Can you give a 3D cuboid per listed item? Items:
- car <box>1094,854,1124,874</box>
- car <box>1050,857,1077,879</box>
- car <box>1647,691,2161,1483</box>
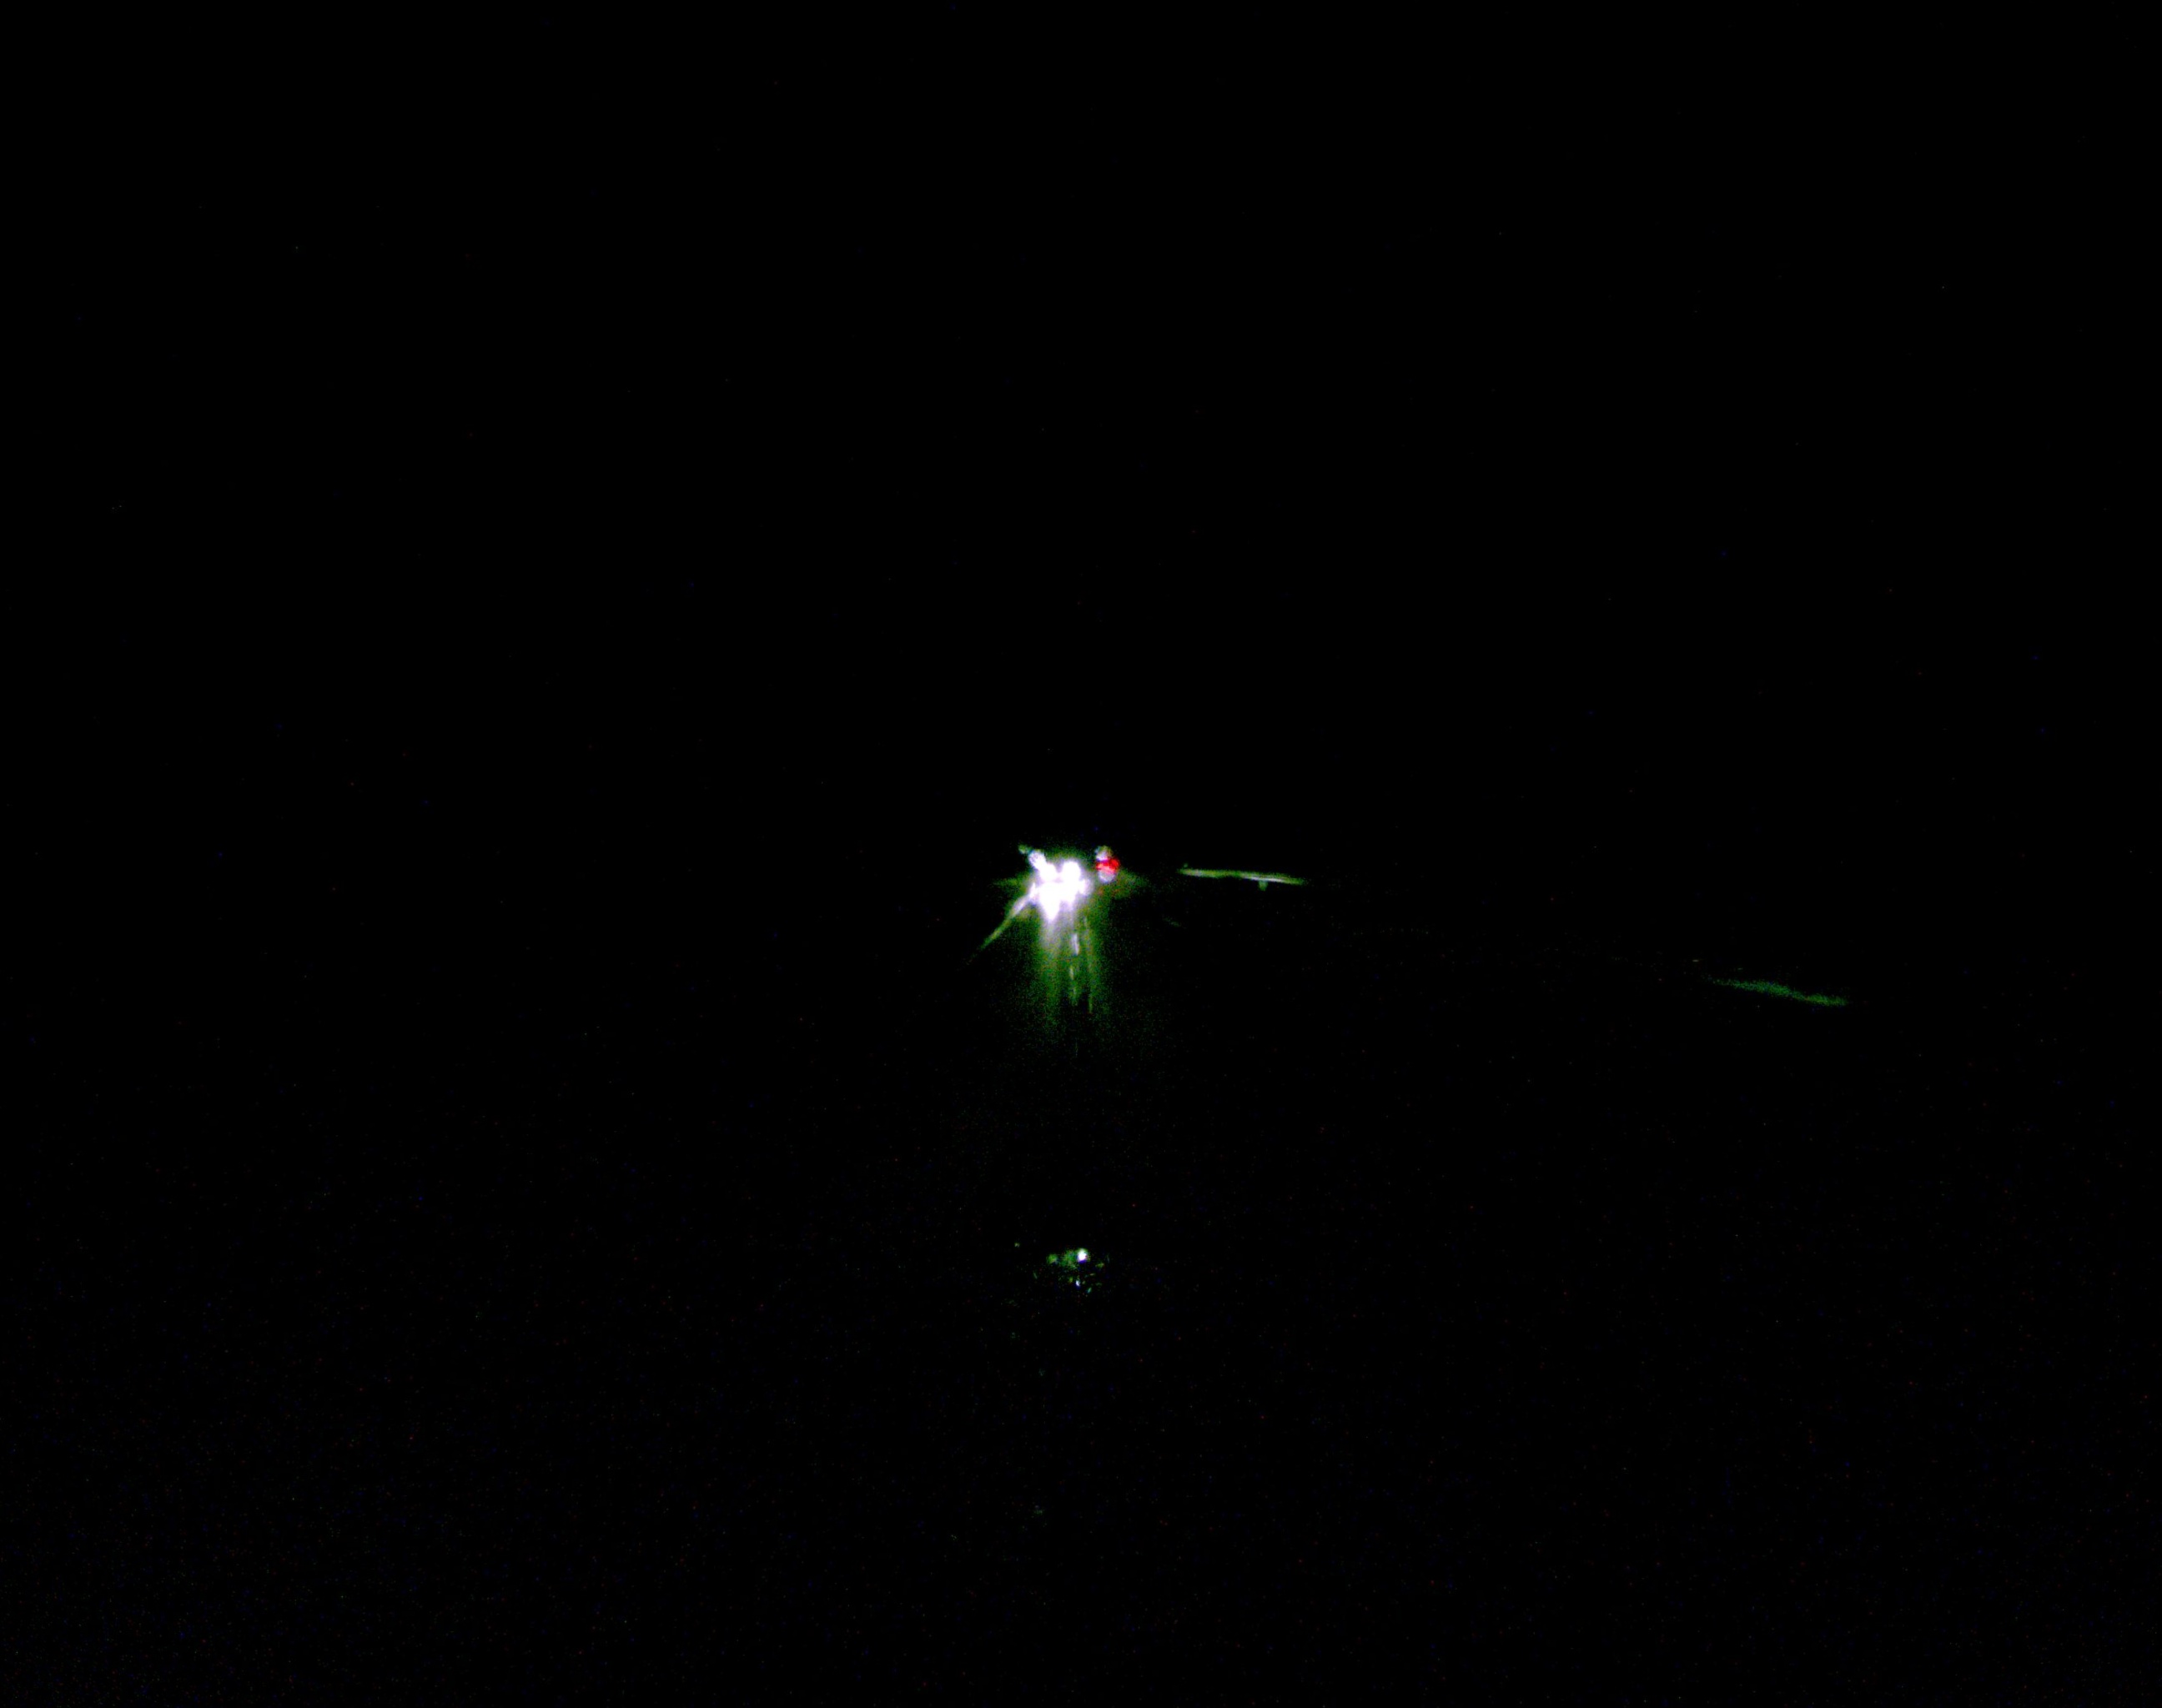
[{"bbox_3d":[2.120,0.766,58.290,1.999,1.382,3.845,-3,0,-1],"label":"car"},{"bbox_3d":[-1.365,1.016,57.170,1.776,1.444,4.134,-4,0,-3],"label":"car"},{"bbox_3d":[3.531,0.540,1.485,1.859,1.929,4.000,-2,0,1],"label":"car"}]
